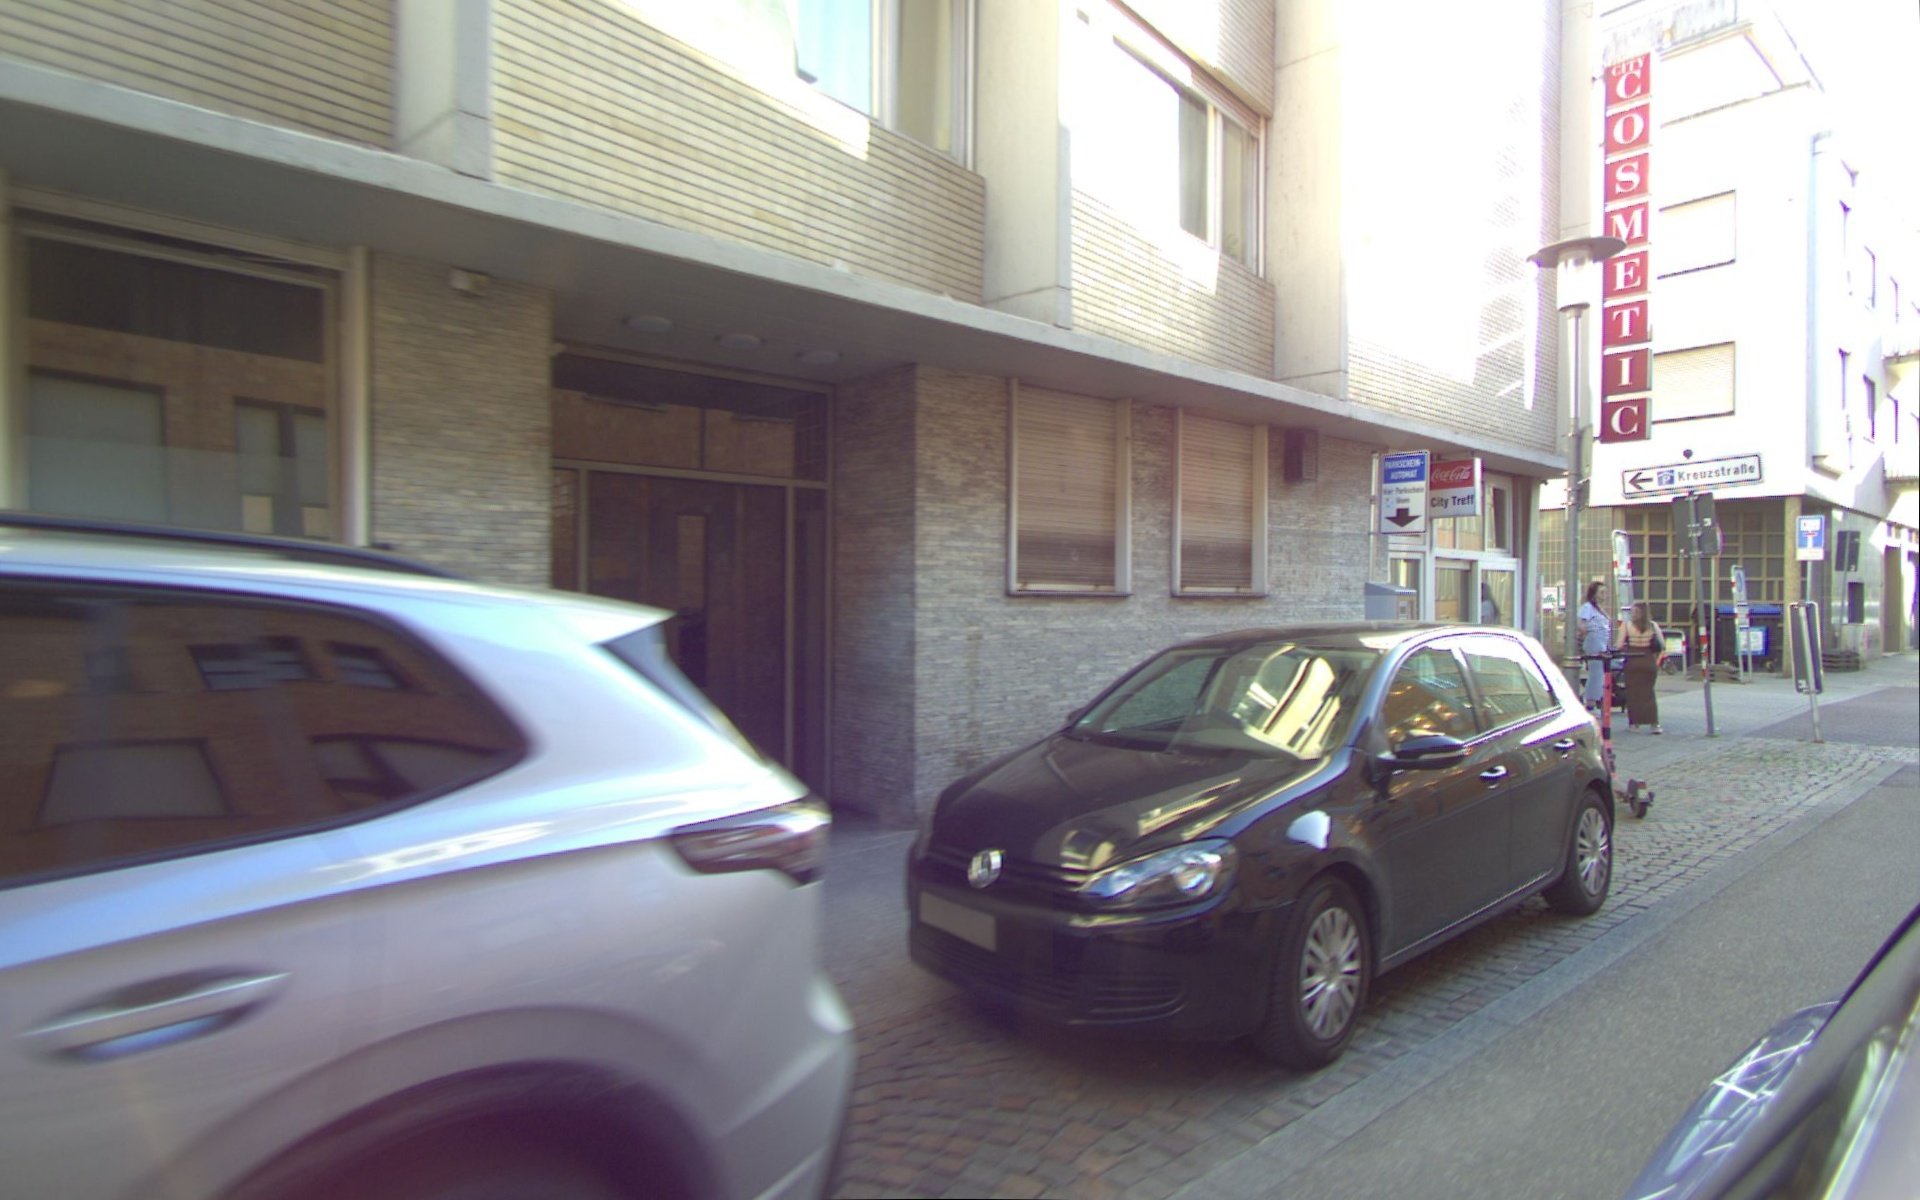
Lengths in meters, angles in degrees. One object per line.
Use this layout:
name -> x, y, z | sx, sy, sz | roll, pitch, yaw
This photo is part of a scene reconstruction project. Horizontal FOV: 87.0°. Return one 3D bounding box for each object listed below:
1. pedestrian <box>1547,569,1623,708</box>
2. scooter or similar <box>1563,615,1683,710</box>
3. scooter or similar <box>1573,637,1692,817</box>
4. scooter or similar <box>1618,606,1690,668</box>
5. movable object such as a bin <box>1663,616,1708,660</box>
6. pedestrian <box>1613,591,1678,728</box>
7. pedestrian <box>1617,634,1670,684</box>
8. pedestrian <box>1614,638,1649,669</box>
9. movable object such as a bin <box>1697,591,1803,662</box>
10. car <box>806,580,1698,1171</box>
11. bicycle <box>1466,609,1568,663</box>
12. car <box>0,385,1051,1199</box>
pedestrian -> 8.110, 0.481, 13.152 | 0.611, 1.758, 0.626 | 0, 0, 4
scooter or similar -> 8.970, 0.828, 13.733 | 1.026, 1.191, 0.871 | 2, 0, 3
scooter or similar -> 5.156, 0.919, 7.823 | 0.488, 1.209, 1.297 | 0, 0, 21
scooter or similar -> 14.385, 0.752, 20.985 | 0.489, 1.238, 1.161 | 0, 0, -41
movable object such as a bin -> 15.900, 0.827, 22.193 | 0.587, 0.938, 0.606 | 0, 0, 9
pedestrian -> 8.104, 0.681, 11.982 | 0.570, 1.559, 0.436 | 3, 2, 34
pedestrian -> 9.099, 0.784, 13.486 | 0.502, 0.641, 0.330 | 0, 0, 16
pedestrian -> 9.181, 0.731, 13.845 | 0.308, 0.403, 0.330 | 0, 0, 16
movable object such as a bin -> 16.927, 0.552, 21.727 | 1.411, 1.481, 1.126 | 0, 0, 9
car -> 1.701, 0.743, 4.800 | 4.518, 1.524, 1.826 | 0, -3, -40
bicycle -> 12.454, 0.788, 22.686 | 0.669, 1.141, 1.893 | 0, -1, -35
car -> -2.273, 0.669, 1.257 | 4.758, 1.724, 1.997 | 0, -2, -41
